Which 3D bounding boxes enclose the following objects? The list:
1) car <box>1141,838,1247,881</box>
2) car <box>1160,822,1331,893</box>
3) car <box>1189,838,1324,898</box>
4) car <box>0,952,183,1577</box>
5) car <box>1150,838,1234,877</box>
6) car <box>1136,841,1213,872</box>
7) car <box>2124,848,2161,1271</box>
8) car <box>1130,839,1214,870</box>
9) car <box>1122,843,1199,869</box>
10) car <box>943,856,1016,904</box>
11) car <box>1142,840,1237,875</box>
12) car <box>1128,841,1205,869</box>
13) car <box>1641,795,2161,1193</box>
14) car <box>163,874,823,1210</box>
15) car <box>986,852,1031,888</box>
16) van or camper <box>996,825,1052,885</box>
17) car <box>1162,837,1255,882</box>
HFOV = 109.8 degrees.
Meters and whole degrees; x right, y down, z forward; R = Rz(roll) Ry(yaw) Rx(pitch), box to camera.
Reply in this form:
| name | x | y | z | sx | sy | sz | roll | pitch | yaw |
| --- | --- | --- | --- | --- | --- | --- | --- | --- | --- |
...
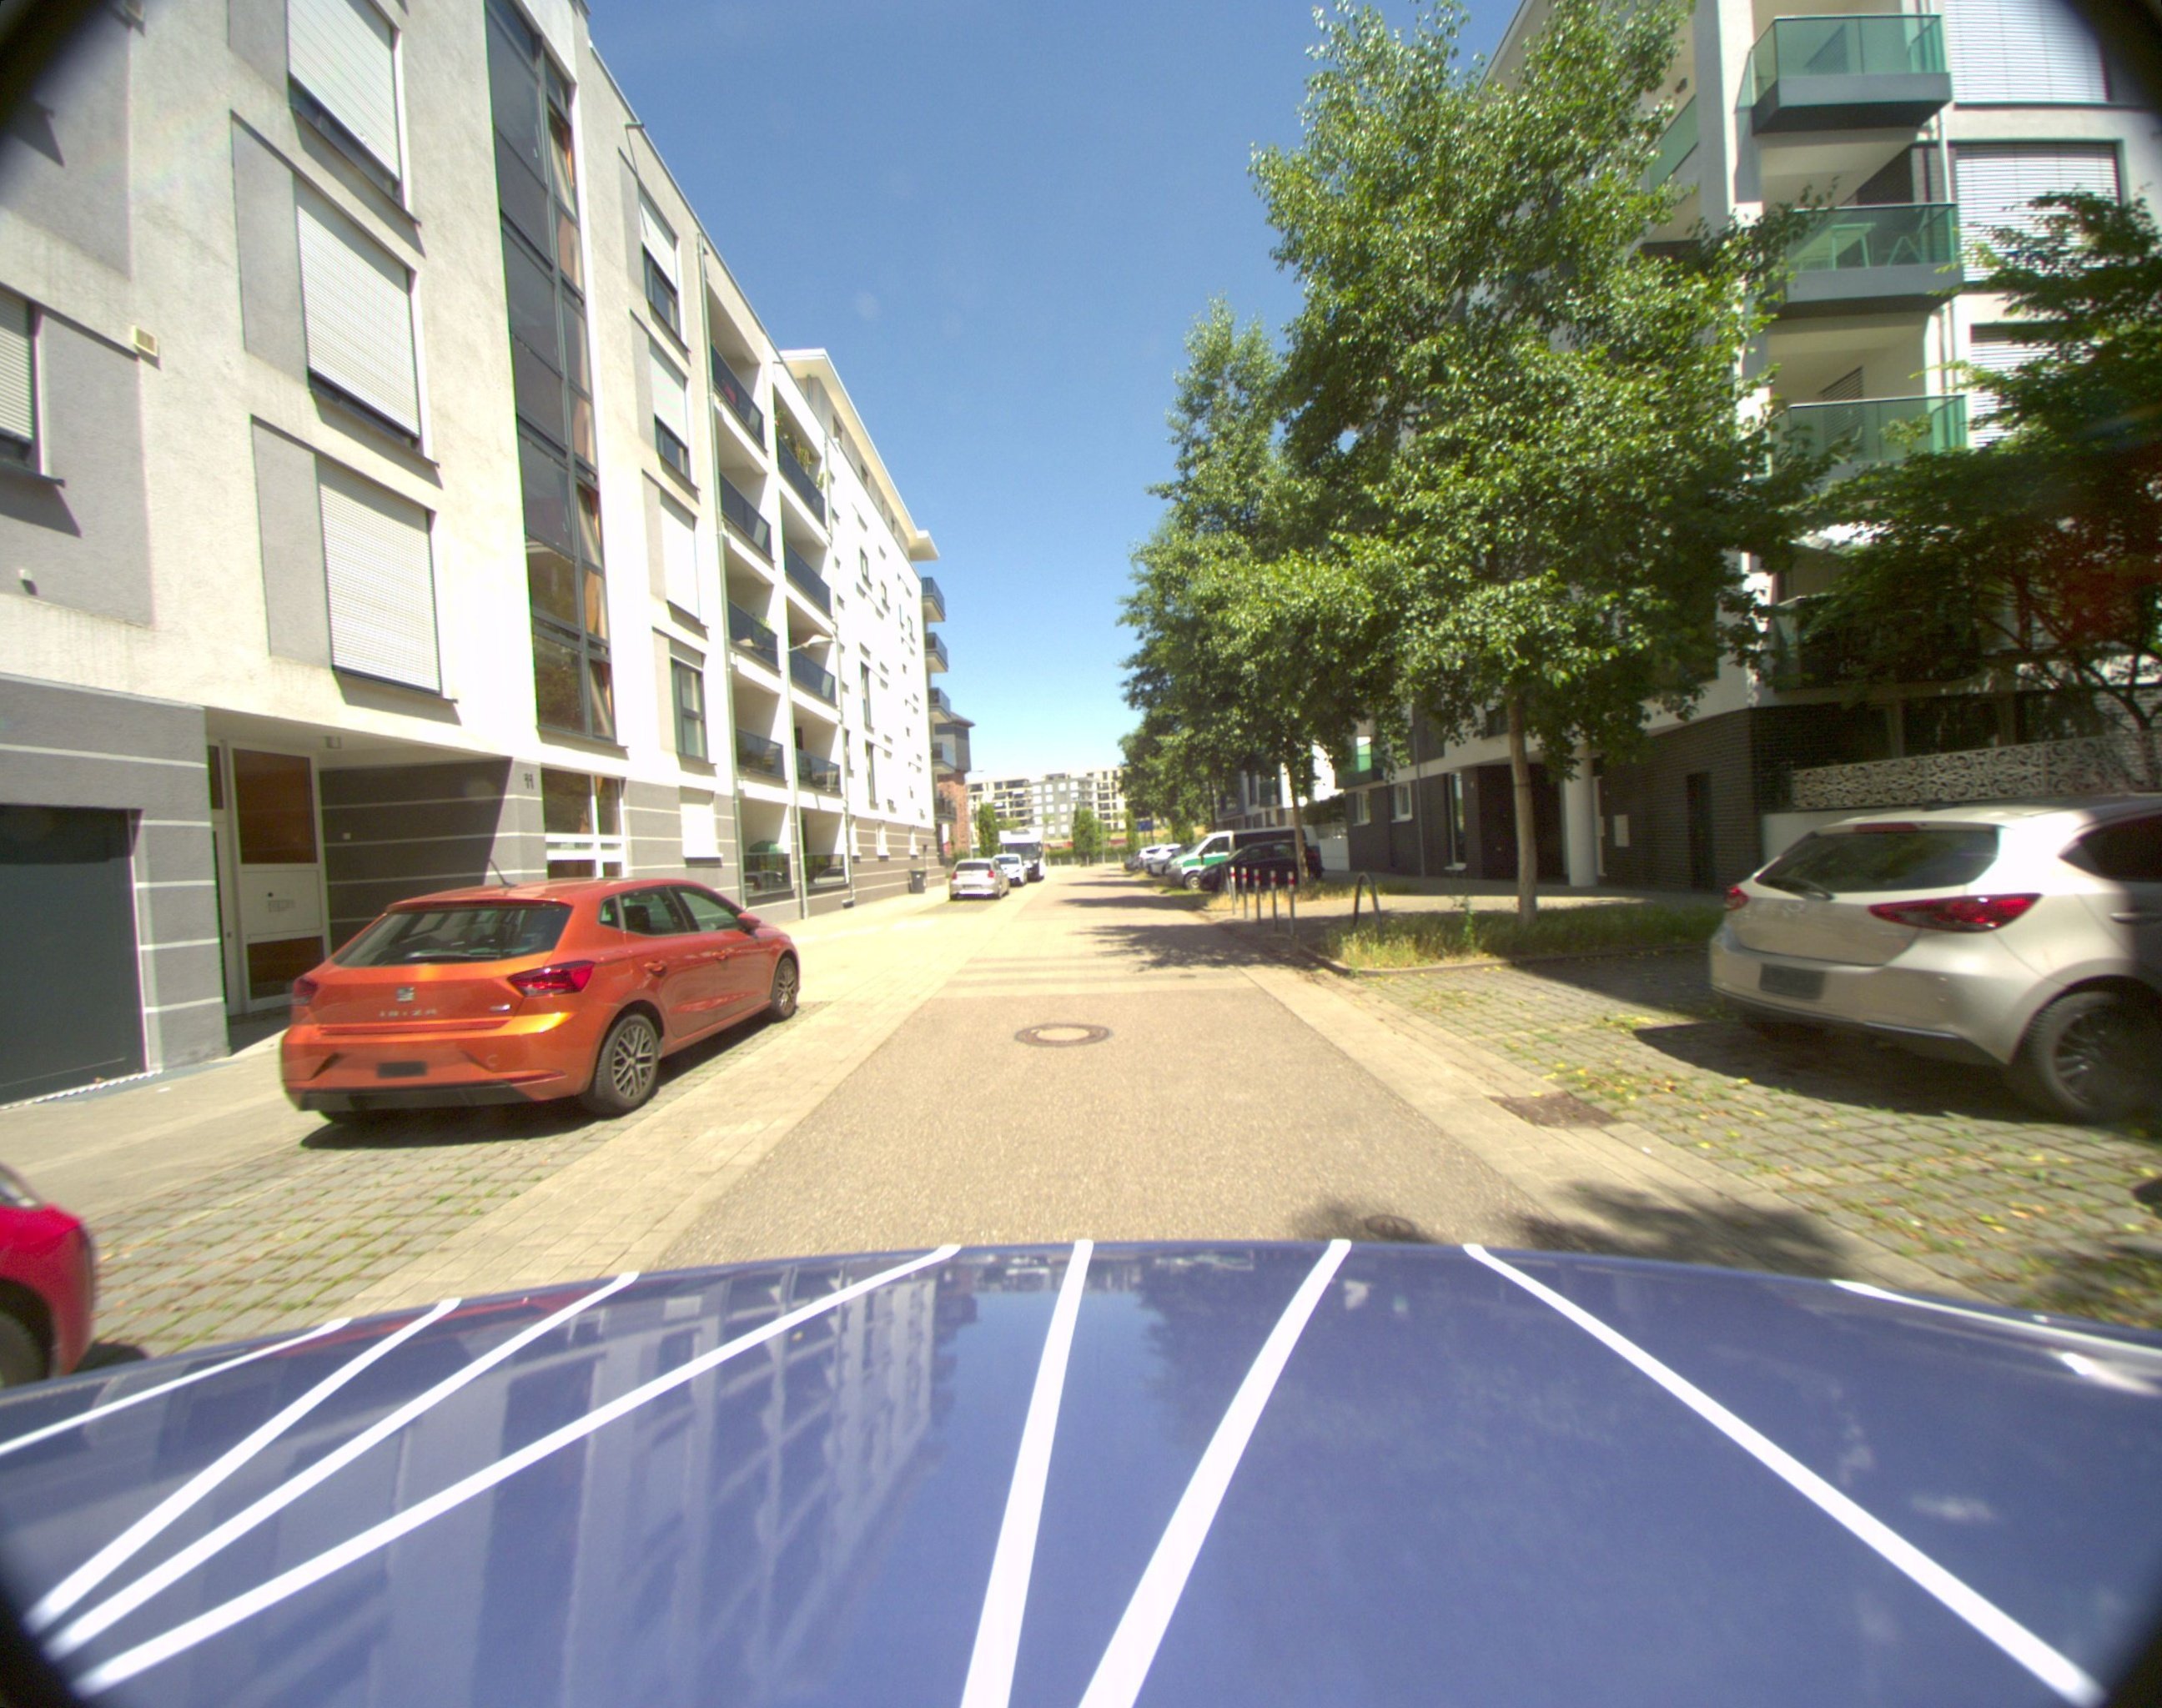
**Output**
| name | x | y | z | sx | sy | sz | roll | pitch | yaw |
| --- | --- | --- | --- | --- | --- | --- | --- | --- | --- |
| car | 5.347 | 0.240 | 36.284 | 4.571 | 1.585 | 1.965 | -5 | 1 | -5 |
| car | 5.527 | 0.104 | 26.103 | 5.355 | 2.098 | 2.187 | -3 | 1 | 2 |
| car | 5.317 | 0.398 | 23.318 | 3.632 | 1.473 | 1.678 | -5 | 1 | 0 |
| car | -3.464 | 1.054 | 0.379 | 1.599 | 1.477 | 3.675 | -1 | 1 | 0 |
| car | 5.634 | 0.159 | 38.913 | 3.990 | 1.620 | 1.949 | -5 | 1 | 2 |
| car | 5.621 | 0.138 | 46.139 | 4.263 | 1.522 | 1.822 | -5 | 1 | -3 |
| car | 5.849 | 0.548 | 1.761 | 4.327 | 1.467 | 1.792 | -5 | 1 | 0 |
| car | 5.807 | 0.031 | 48.857 | 5.042 | 1.623 | 2.042 | -4 | 0 | -2 |
| car | 5.585 | 0.116 | 53.917 | 5.112 | 1.476 | 1.927 | -4 | 1 | -2 |
| car | -3.505 | 0.851 | 27.083 | 1.850 | 1.408 | 4.425 | -3 | 1 | 1 |
| car | 5.844 | 0.197 | 41.359 | 4.862 | 1.448 | 1.829 | -5 | 1 | 1 |
| car | 5.706 | 0.051 | 51.272 | 4.831 | 1.441 | 1.827 | -6 | 1 | -2 |
| car | 5.984 | 0.492 | 4.206 | 4.263 | 1.509 | 1.924 | -5 | 1 | 0 |
| car | -3.649 | 0.997 | 5.915 | 1.742 | 1.478 | 4.258 | -2 | 1 | 0 |
| car | -3.369 | 0.707 | 36.094 | 1.812 | 1.496 | 4.259 | -2 | 1 | -2 |
| van or camper | -3.031 | -0.024 | 42.370 | 2.445 | 2.889 | 7.824 | -4 | 1 | -1 |
| car | 5.583 | 0.217 | 33.644 | 3.689 | 1.666 | 1.852 | -5 | 1 | 0 |
